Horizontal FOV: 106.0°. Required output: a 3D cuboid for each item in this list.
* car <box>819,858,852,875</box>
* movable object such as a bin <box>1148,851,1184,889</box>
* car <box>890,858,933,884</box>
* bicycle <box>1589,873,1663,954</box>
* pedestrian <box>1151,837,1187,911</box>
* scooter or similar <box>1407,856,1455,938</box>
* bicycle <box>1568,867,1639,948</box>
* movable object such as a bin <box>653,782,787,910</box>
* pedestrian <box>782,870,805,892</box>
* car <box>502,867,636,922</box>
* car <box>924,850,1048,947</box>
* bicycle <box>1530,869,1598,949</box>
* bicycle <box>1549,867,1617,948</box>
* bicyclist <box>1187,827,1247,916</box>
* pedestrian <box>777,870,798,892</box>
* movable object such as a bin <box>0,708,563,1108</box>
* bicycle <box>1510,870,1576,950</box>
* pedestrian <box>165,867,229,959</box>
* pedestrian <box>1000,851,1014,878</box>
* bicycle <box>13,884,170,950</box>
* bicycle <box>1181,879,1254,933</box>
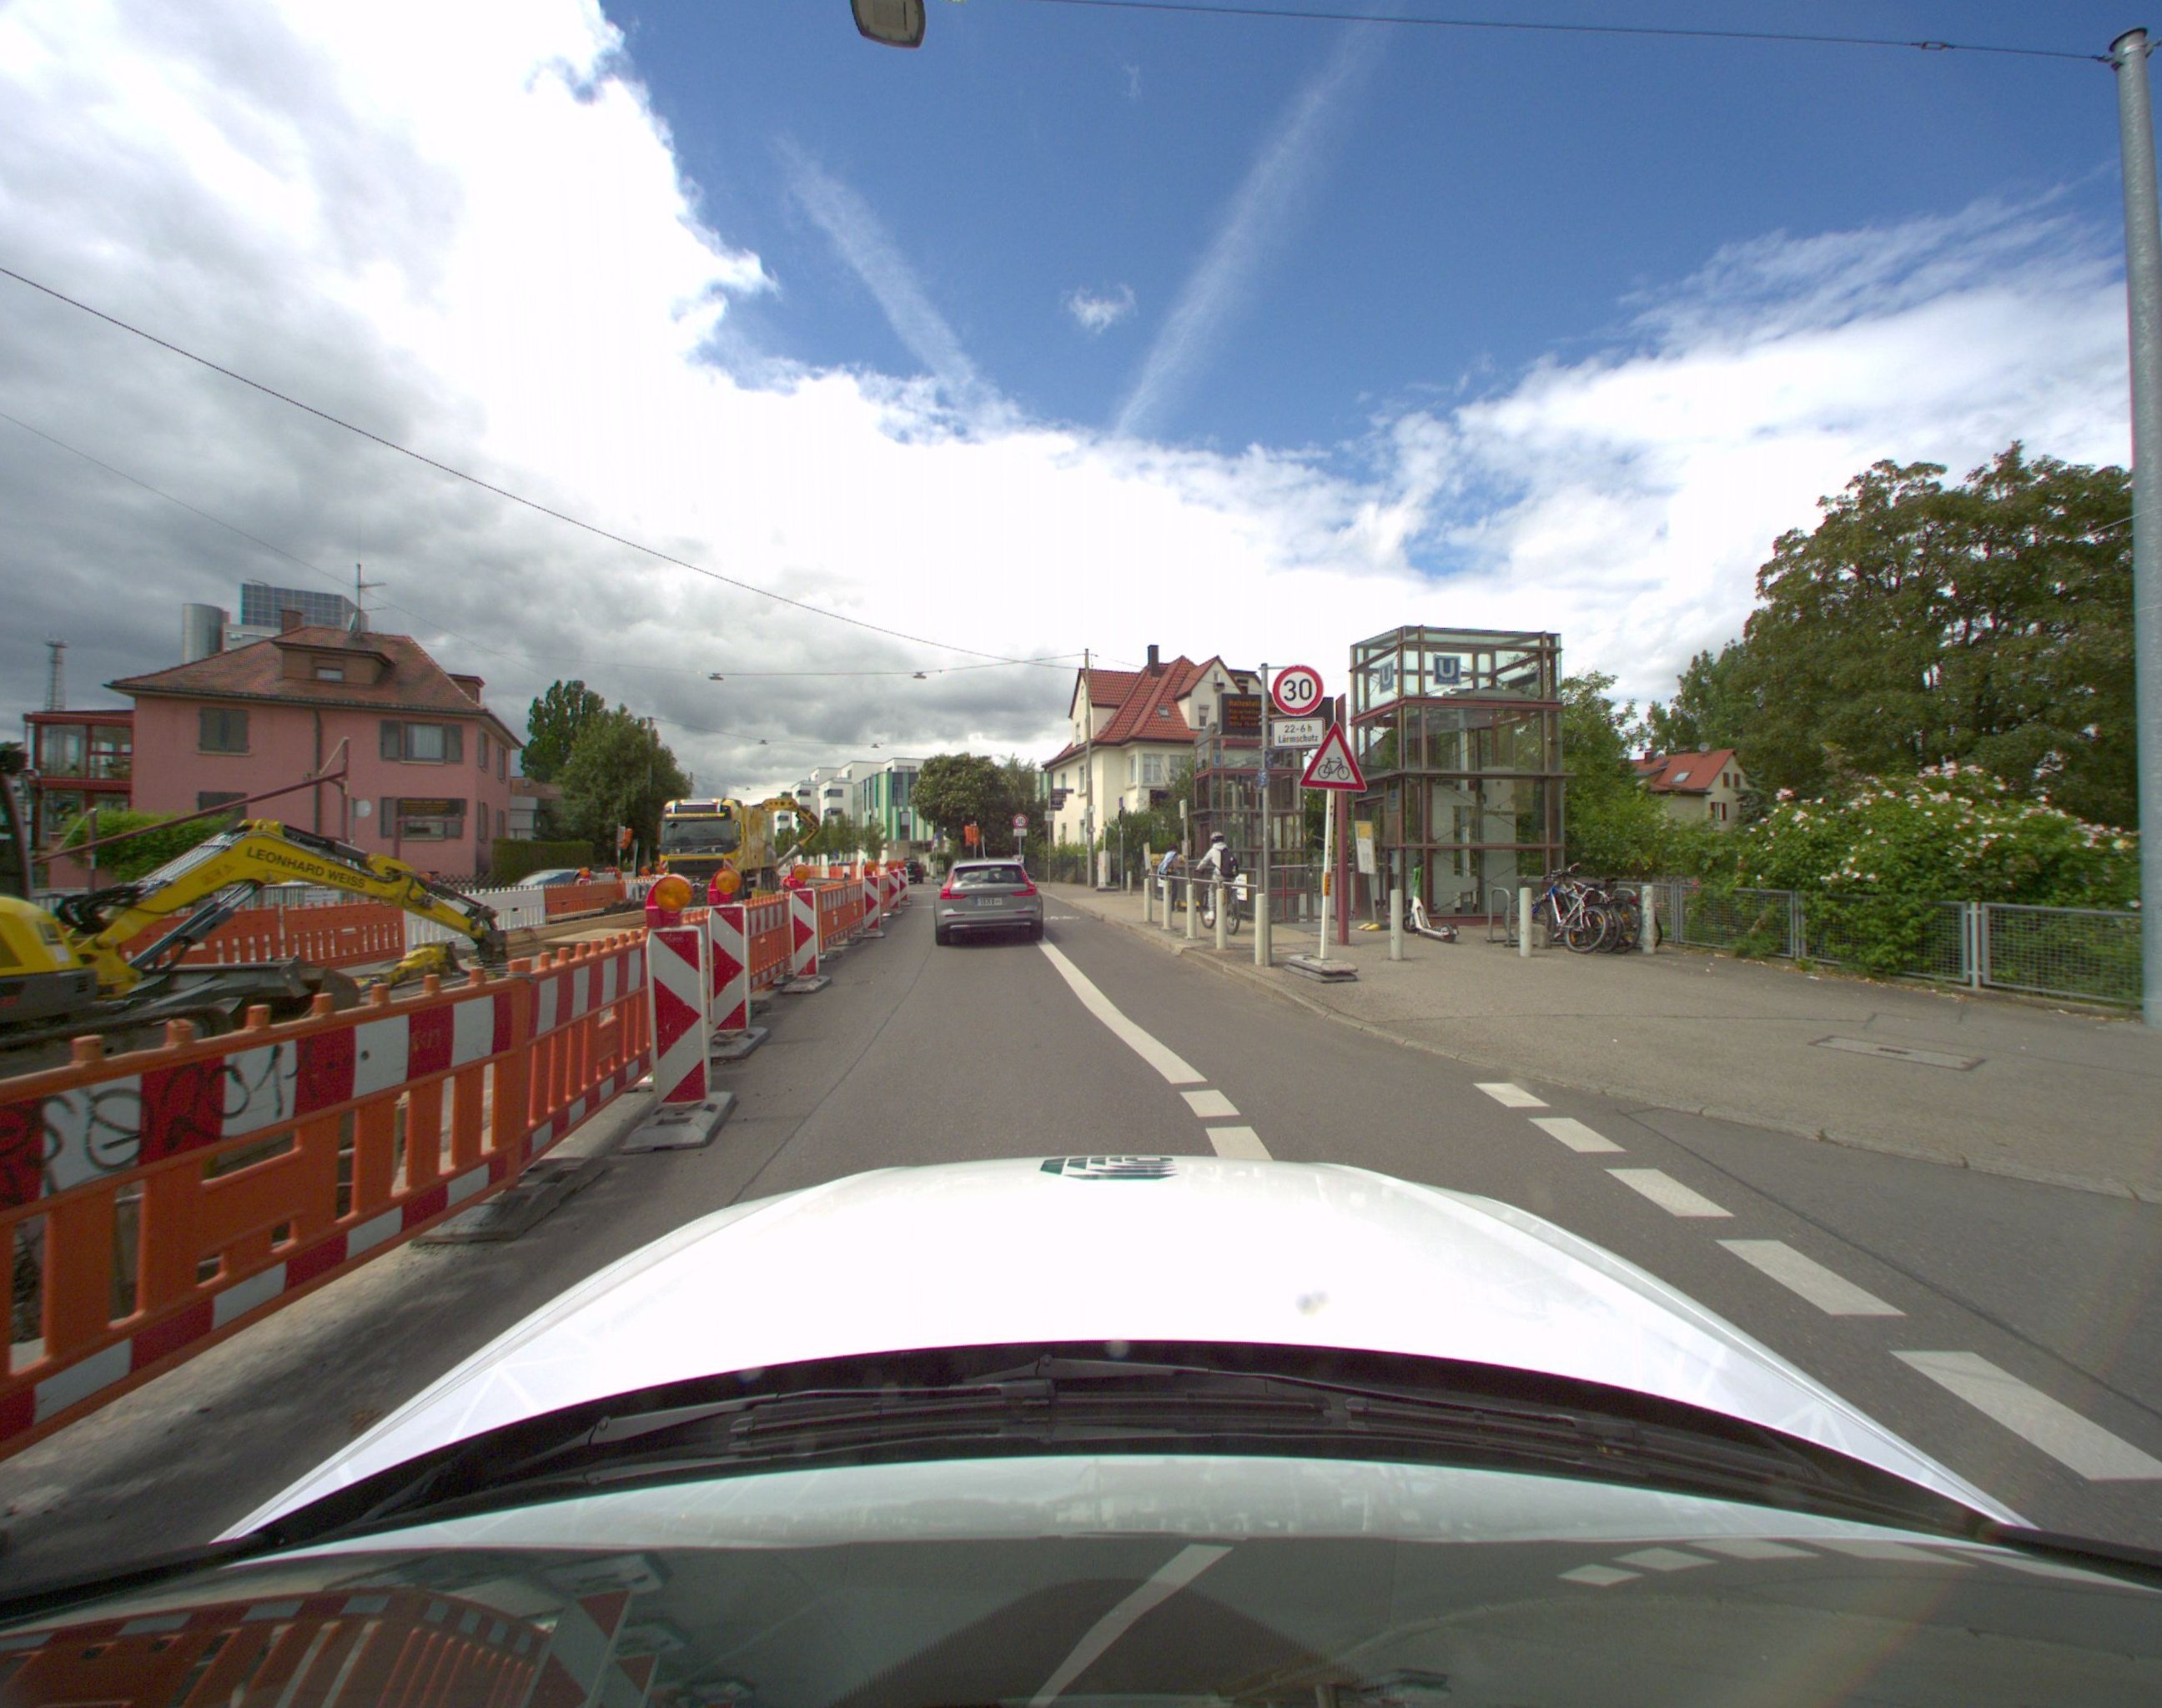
[{"bbox_3d":[-22.021,1.121,72.919,1.857,1.513,3.959,1,-1,-33],"label":"car"},{"bbox_3d":[3.299,0.613,31.628,1.264,1.470,1.004,0,-1,-2],"label":"movable object such as a bin"},{"bbox_3d":[-10.493,1.020,50.161,1.862,1.513,3.970,1,-1,-22],"label":"car"},{"bbox_3d":[7.358,0.781,11.038,0.215,1.008,1.190,-1,0,2],"label":"bicycle"},{"bbox_3d":[1.956,0.450,18.148,0.597,1.583,0.400,5,-3,-8],"label":"pedestrian"},{"bbox_3d":[5.162,0.608,12.051,0.215,1.111,0.944,-1,3,-7],"label":"scooter or similar"},{"bbox_3d":[7.059,0.694,11.050,0.215,1.008,1.190,-1,0,2],"label":"bicycle"},{"bbox_3d":[-13.908,-0.253,32.448,2.593,4.221,11.073,-1,0,-12],"label":"movable object such as a bin"},{"bbox_3d":[-13.574,1.262,38.480,0.788,0.991,0.812,-1,0,1],"label":"pedestrian"},{"bbox_3d":[-16.346,1.243,26.310,1.852,1.513,4.431,-1,0,-6],"label":"car"},{"bbox_3d":[-1.618,0.720,15.177,1.849,1.513,3.998,-1,0,-1],"label":"car"},{"bbox_3d":[6.530,0.720,11.050,0.215,1.001,1.207,-1,0,2],"label":"bicycle"},{"bbox_3d":[6.795,0.699,11.071,0.215,1.013,1.170,-1,0,2],"label":"bicycle"},{"bbox_3d":[2.241,0.277,13.558,0.656,1.415,1.175,0,0,-8],"label":"bicyclist"},{"bbox_3d":[-14.141,1.298,39.253,0.636,0.991,0.796,-1,0,11],"label":"pedestrian"},{"bbox_3d":[-8.014,0.372,7.580,1.986,2.625,6.525,-1,0,2],"label":"movable object such as a bin"},{"bbox_3d":[6.250,0.732,11.061,0.215,0.989,1.204,-1,0,2],"label":"bicycle"},{"bbox_3d":[-18.835,1.238,17.370,0.679,1.886,0.583,-1,0,-9],"label":"pedestrian"},{"bbox_3d":[-4.279,0.596,46.989,0.515,1.540,0.640,-1,0,24],"label":"pedestrian"},{"bbox_3d":[-18.832,1.167,15.587,0.537,1.082,2.127,-1,0,-5],"label":"bicycle"},{"bbox_3d":[2.263,0.841,13.751,0.635,0.753,2.056,0,0,-8],"label":"bicycle"}]
